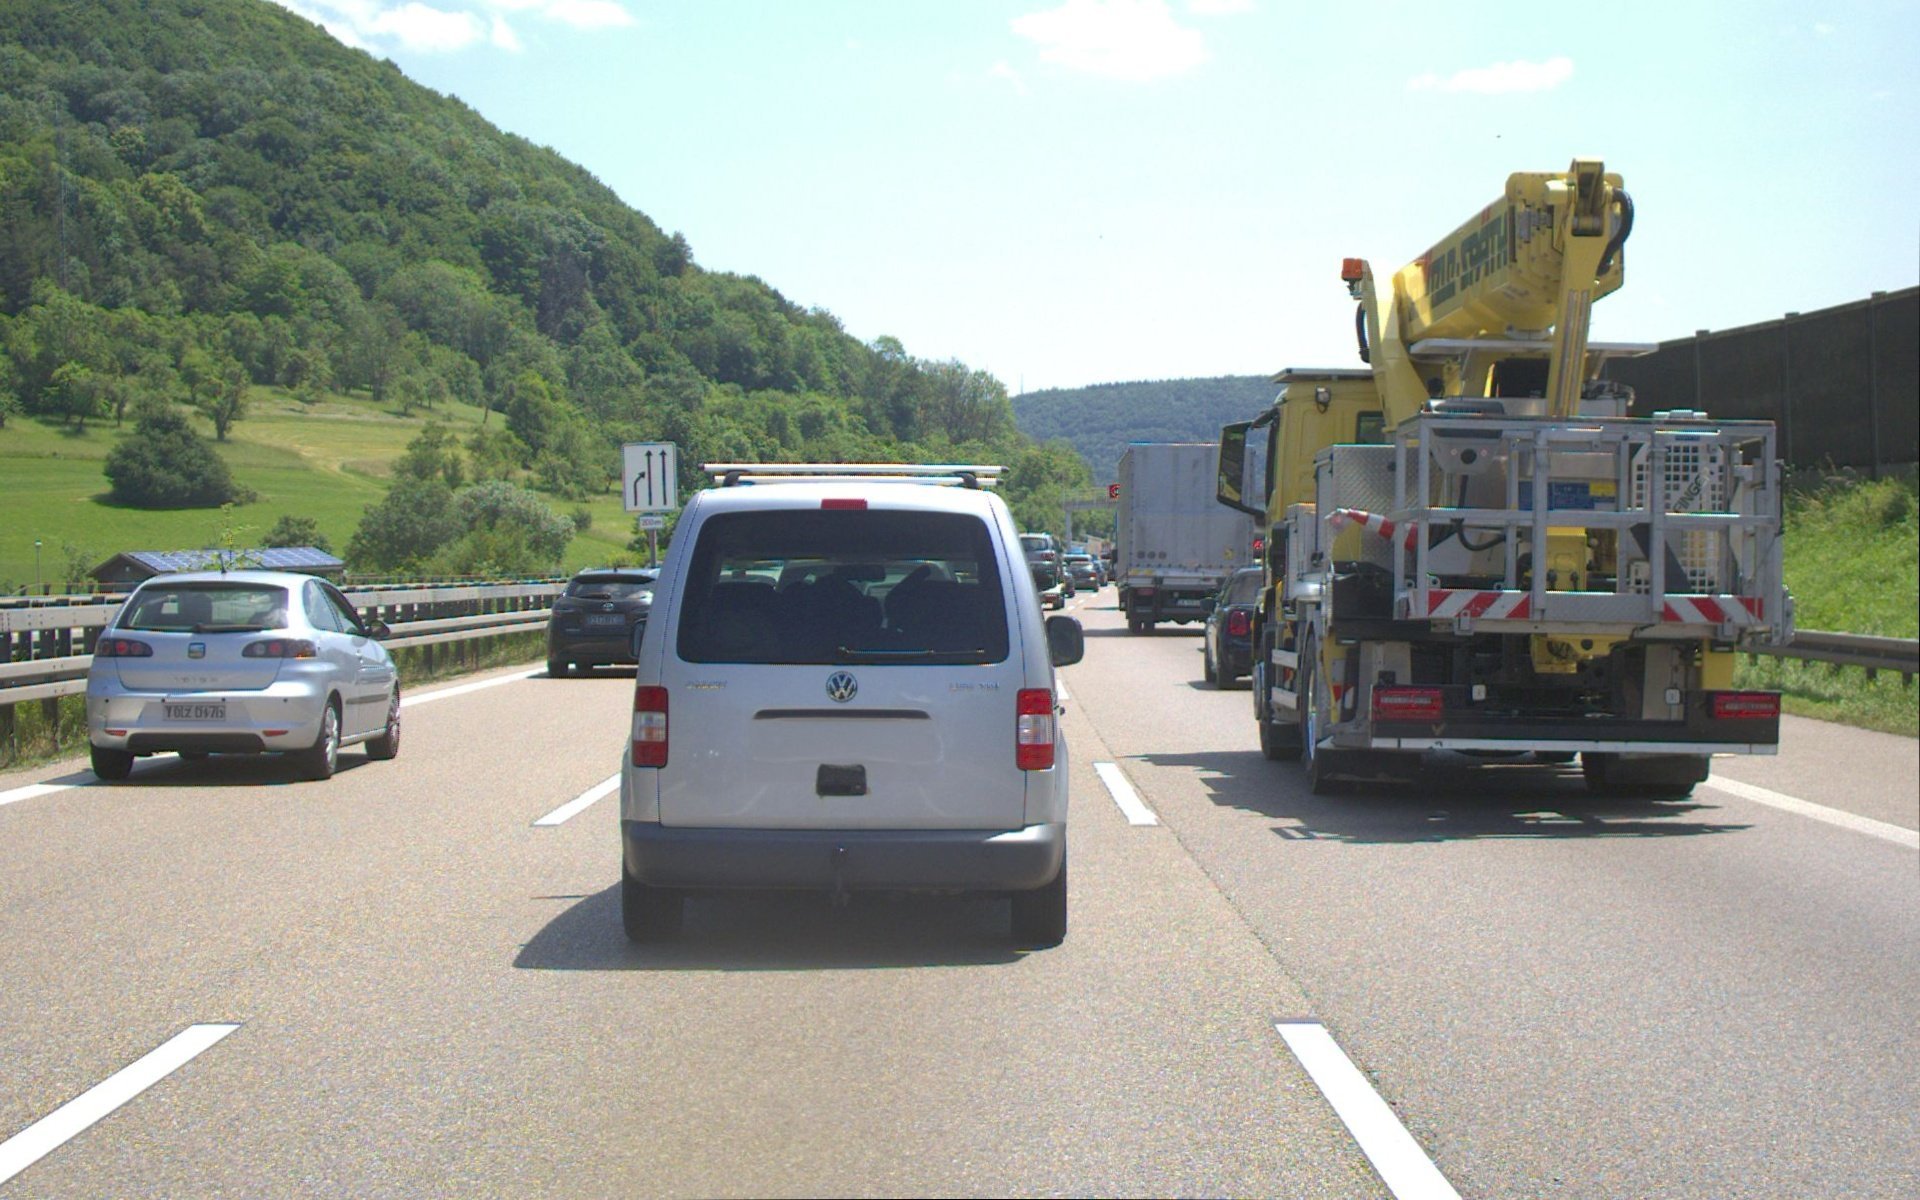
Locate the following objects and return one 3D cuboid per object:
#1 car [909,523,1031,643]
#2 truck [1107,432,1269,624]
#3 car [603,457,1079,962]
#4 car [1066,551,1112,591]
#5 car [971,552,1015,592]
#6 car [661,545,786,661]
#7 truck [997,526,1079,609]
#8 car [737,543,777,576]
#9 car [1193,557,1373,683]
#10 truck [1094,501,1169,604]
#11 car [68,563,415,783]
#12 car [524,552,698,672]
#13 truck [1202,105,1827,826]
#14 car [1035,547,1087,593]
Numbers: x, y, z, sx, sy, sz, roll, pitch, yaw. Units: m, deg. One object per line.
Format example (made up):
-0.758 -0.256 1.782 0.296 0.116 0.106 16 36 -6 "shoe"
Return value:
0.141 -0.311 58.587 1.993 1.969 4.000 0 1 -1 "car"
4.750 -1.468 73.153 2.940 3.810 8.236 1 0 1 "truck"
-0.461 0.379 14.702 1.756 1.861 4.000 0 1 -1 "car"
5.930 -1.310 158.844 1.993 1.799 4.000 1 0 1 "car"
1.510 -1.309 159.434 1.993 1.799 4.000 1 0 1 "car"
-4.218 0.025 61.892 1.993 2.007 4.000 -1 1 -1 "car"
2.430 -1.029 108.523 2.390 2.532 5.940 0 1 -1 "truck"
-12.048 -2.383 204.017 2.060 1.935 4.661 0 1 0 "car"
3.866 0.209 41.709 1.786 1.453 3.771 0 1 -1 "car"
5.553 -1.531 112.212 1.993 3.240 6.800 1 0 -1 "truck"
-5.062 0.462 24.699 1.695 1.440 3.862 0 1 0 "car"
-4.591 0.127 45.706 1.925 1.494 4.000 1 1 -1 "car"
3.336 -0.789 23.131 2.704 3.929 8.722 0 1 -1 "truck"
4.035 -1.189 138.419 1.993 1.799 4.000 1 0 1 "car"
